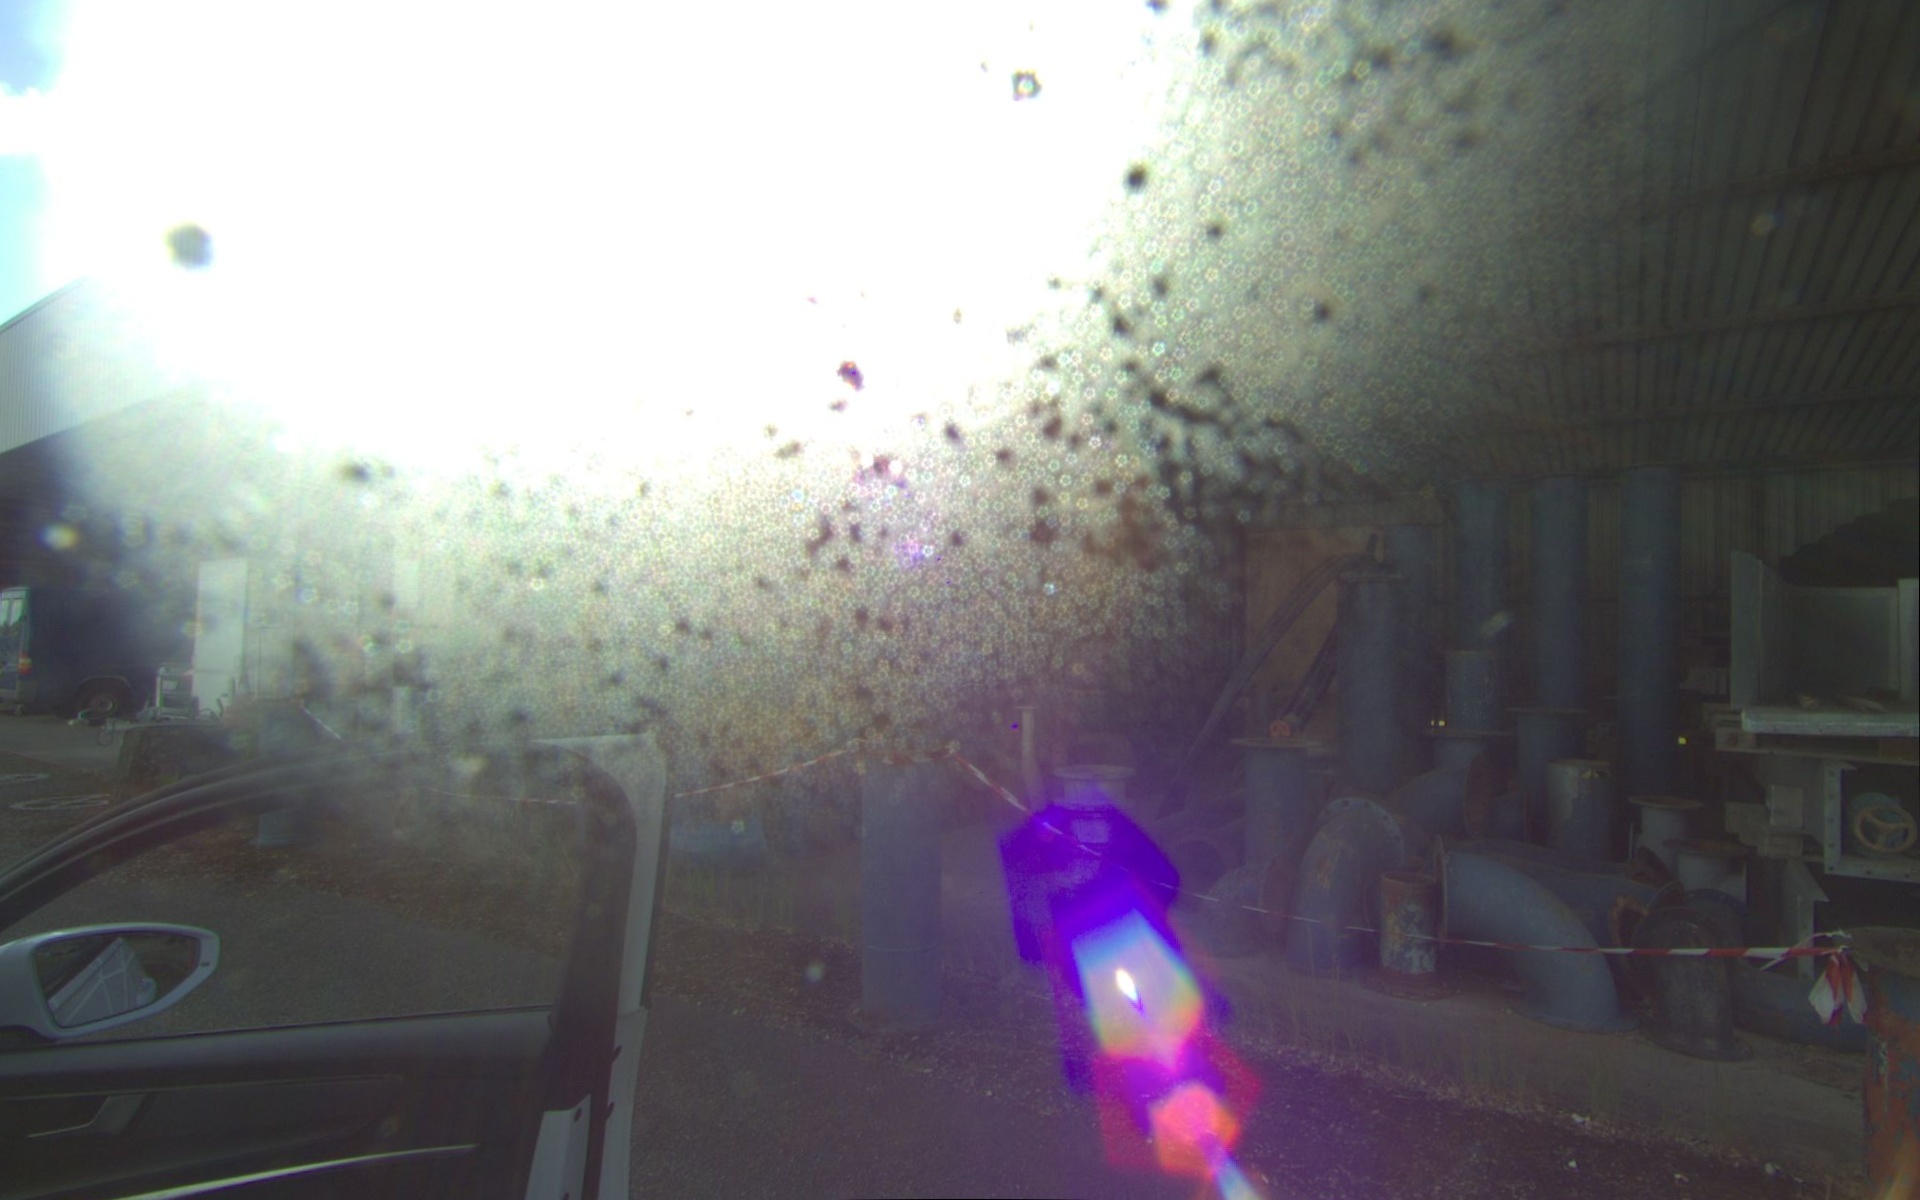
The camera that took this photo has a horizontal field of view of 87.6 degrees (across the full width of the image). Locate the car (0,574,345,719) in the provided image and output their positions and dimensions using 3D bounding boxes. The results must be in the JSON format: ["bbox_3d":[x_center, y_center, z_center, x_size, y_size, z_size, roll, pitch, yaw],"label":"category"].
[{"bbox_3d":[-14.763,0.898,18.906,1.973,2.354,4.969,-1,-3,34],"label":"car"}]

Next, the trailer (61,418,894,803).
[{"bbox_3d":[-5.050,0.318,13.429,2.814,3.256,10.018,-1,-3,34],"label":"trailer"}]

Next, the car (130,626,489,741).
[{"bbox_3d":[-9.815,1.206,15.493,1.751,1.514,4.324,-1,-3,31],"label":"car"}]

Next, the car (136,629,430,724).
[{"bbox_3d":[-11.913,1.299,17.913,1.761,1.491,3.985,-1,-3,29],"label":"car"}]

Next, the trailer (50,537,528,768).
[{"bbox_3d":[-8.368,0.669,12.963,1.804,2.421,4.796,-1,-3,38],"label":"trailer"}]
